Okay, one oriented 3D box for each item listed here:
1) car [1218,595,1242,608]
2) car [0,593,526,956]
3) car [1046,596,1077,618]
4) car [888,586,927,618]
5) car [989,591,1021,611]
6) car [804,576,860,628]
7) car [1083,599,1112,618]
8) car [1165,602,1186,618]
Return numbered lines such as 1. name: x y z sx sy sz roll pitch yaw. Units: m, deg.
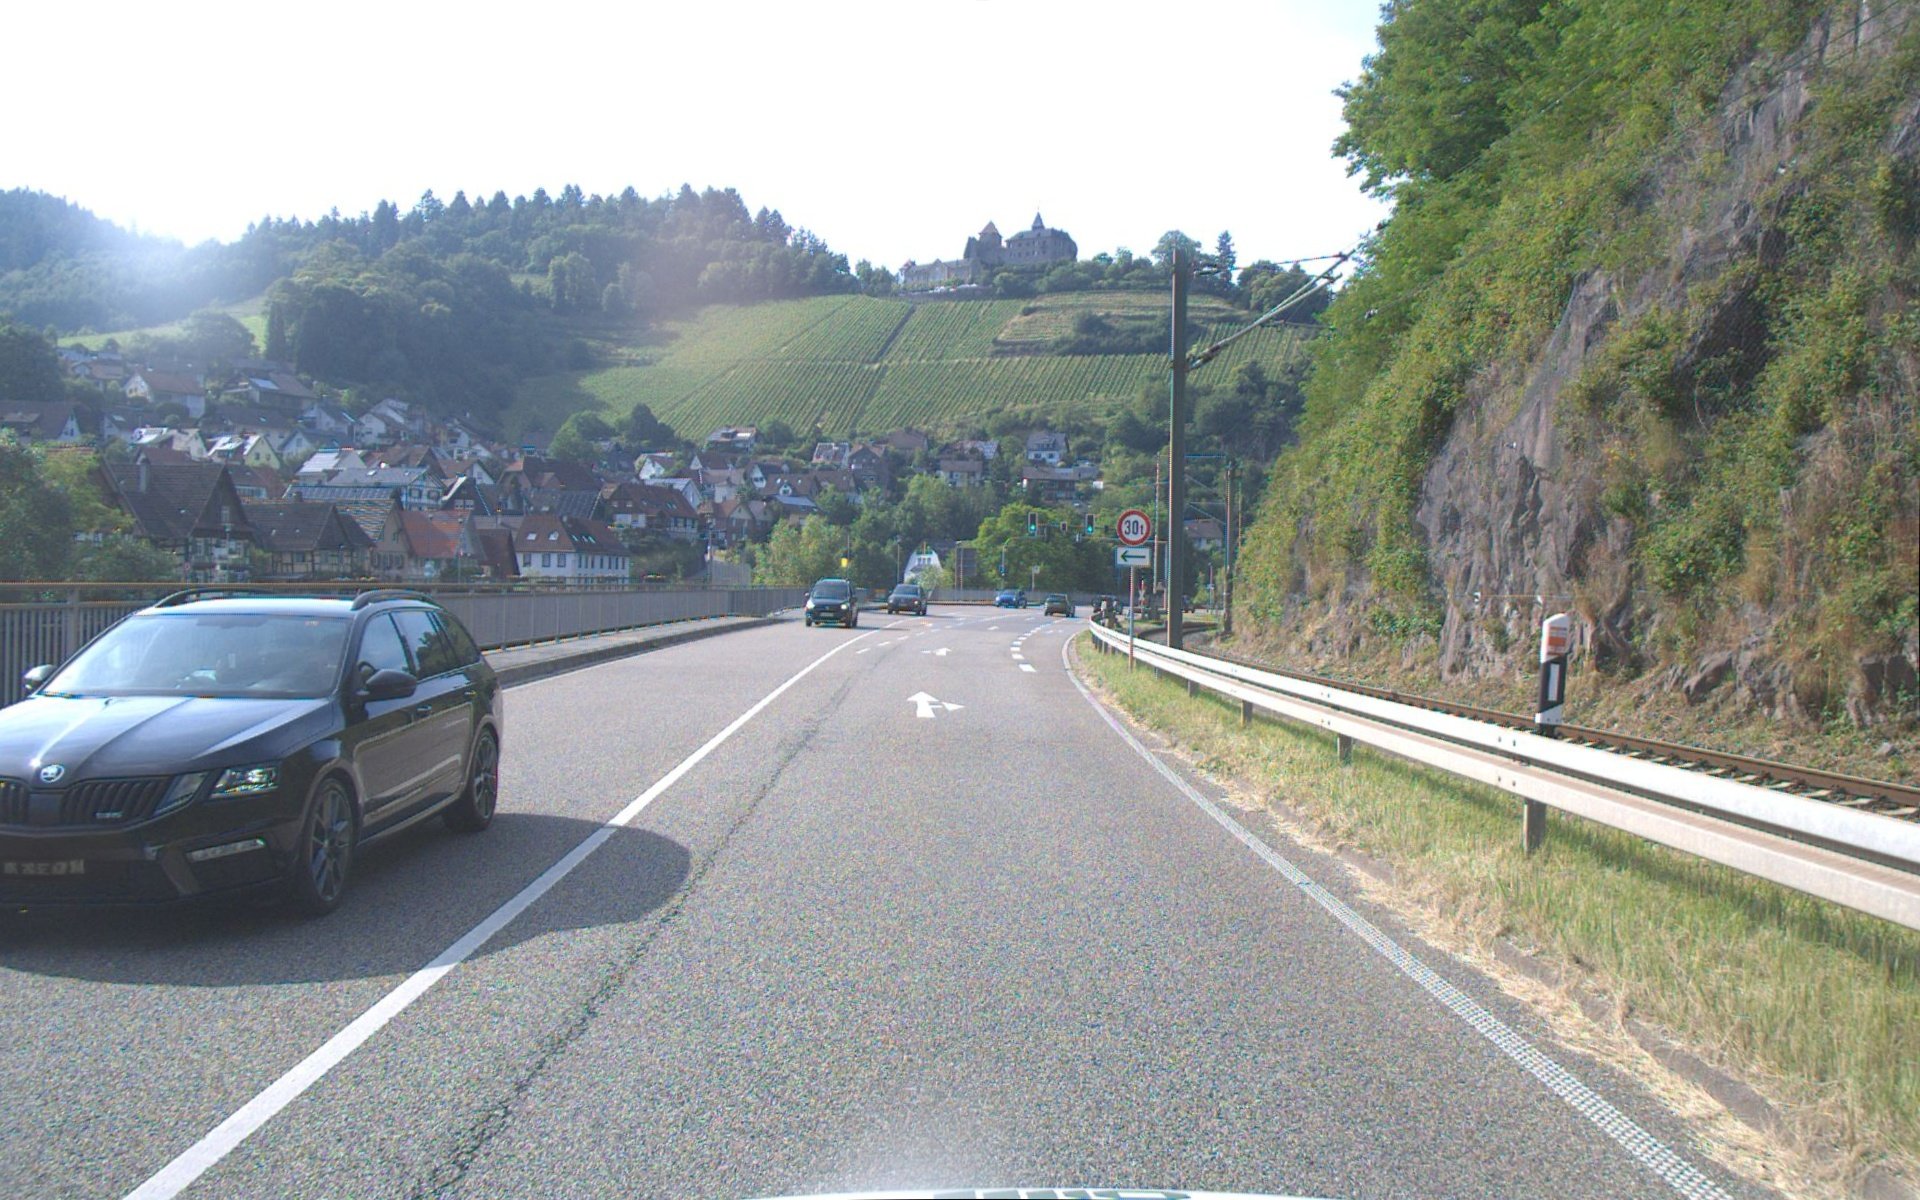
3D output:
1. car: 29.750 0.163 182.376 1.772 1.433 3.772 0 -1 22
2. car: -3.672 0.696 8.855 1.686 1.460 4.338 0 0 -2
3. car: 6.867 0.492 111.746 1.691 1.482 3.413 0 -1 10
4. car: -2.891 0.090 92.488 1.779 1.675 4.614 2 0 3
5. car: 3.629 0.091 132.161 1.744 1.508 4.529 2 0 12
6. car: -4.859 0.055 63.304 1.755 1.860 4.828 1 0 0
7. car: 10.985 0.712 131.817 1.801 1.485 3.716 0 -1 12
8. car: 20.994 0.978 161.025 1.768 1.478 3.650 0 -1 12
